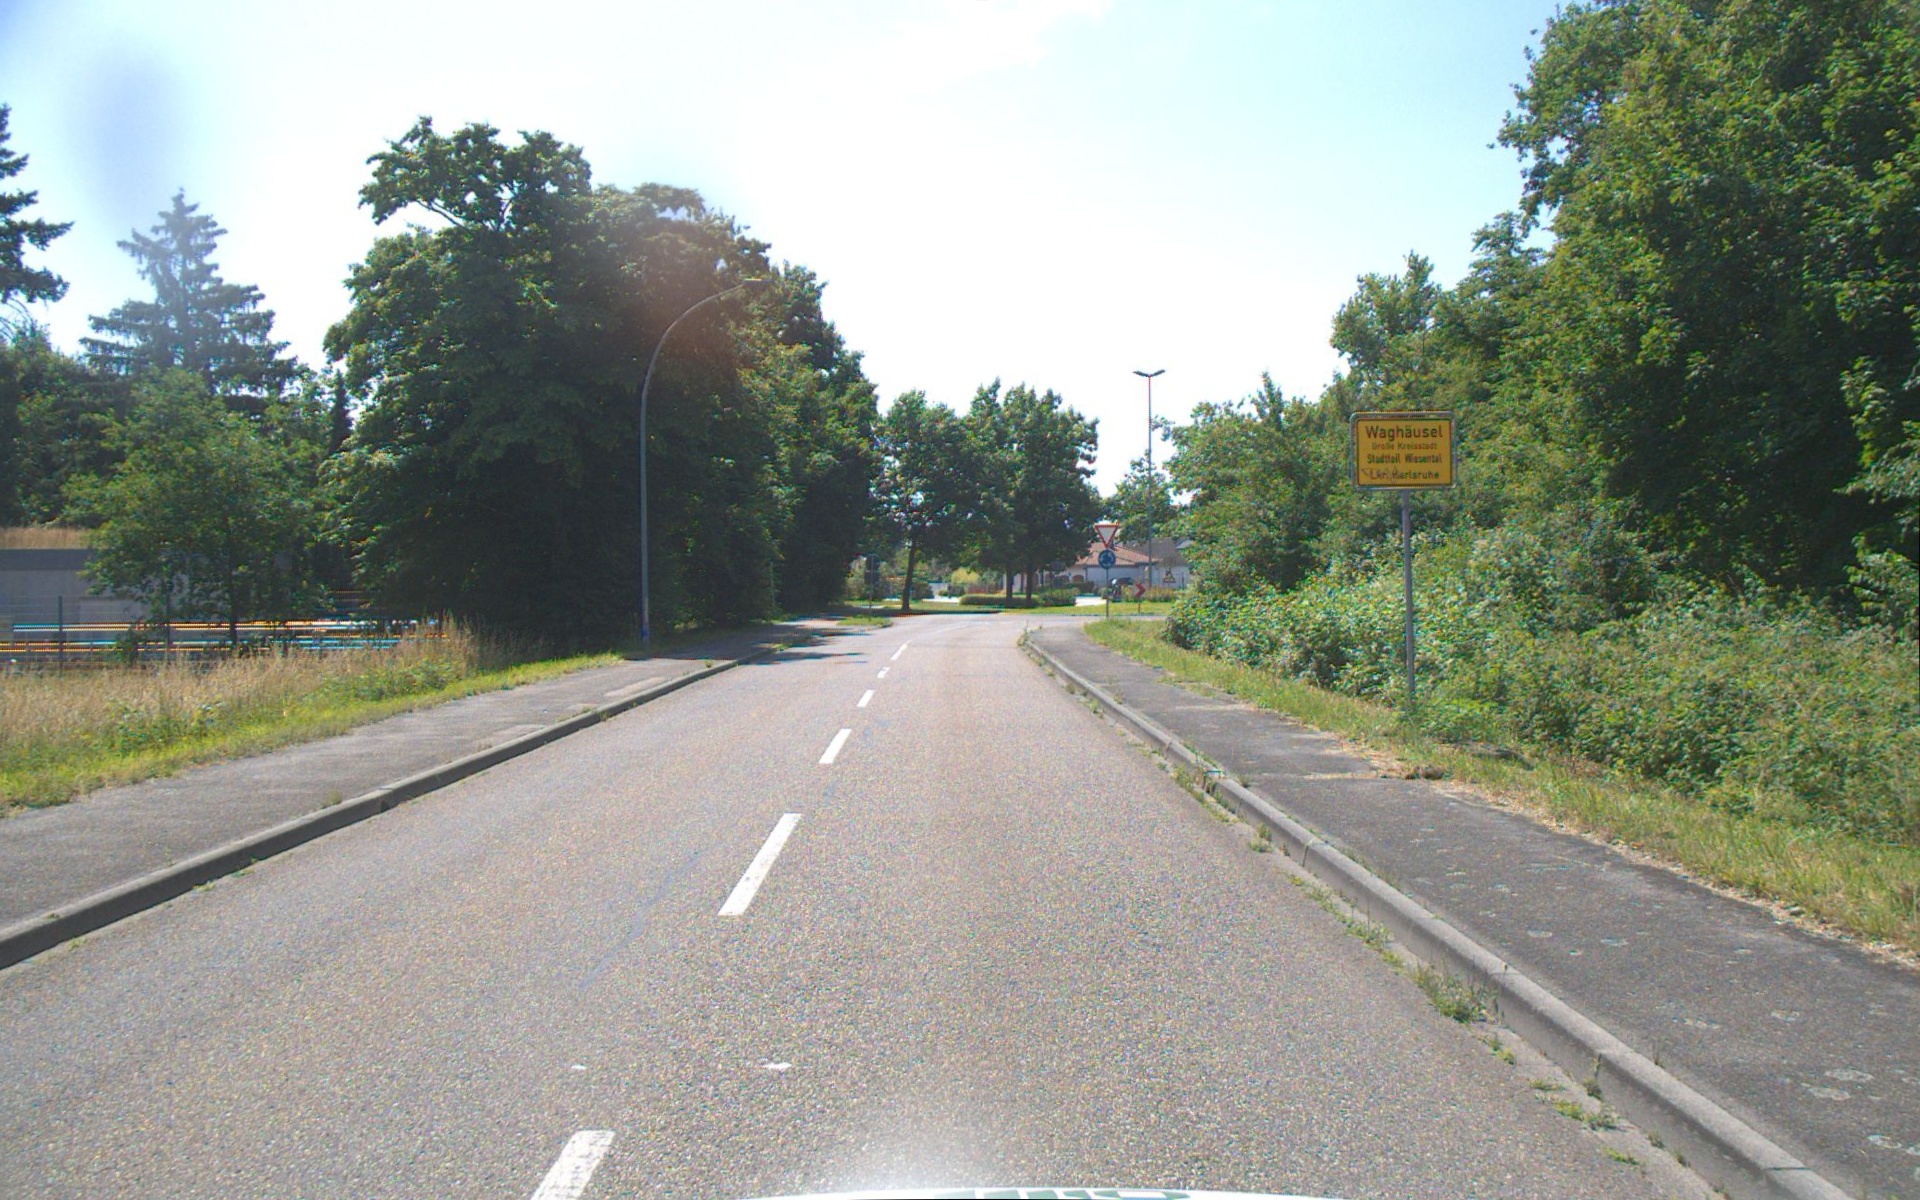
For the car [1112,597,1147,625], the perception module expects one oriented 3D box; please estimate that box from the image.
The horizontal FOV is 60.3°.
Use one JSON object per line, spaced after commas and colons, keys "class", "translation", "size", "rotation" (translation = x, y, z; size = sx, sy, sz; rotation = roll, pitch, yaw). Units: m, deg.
{"class": "car", "translation": [9.621, 0.601, 94.171], "size": [1.595, 1.512, 4.001], "rotation": [-1, 1, 1]}
